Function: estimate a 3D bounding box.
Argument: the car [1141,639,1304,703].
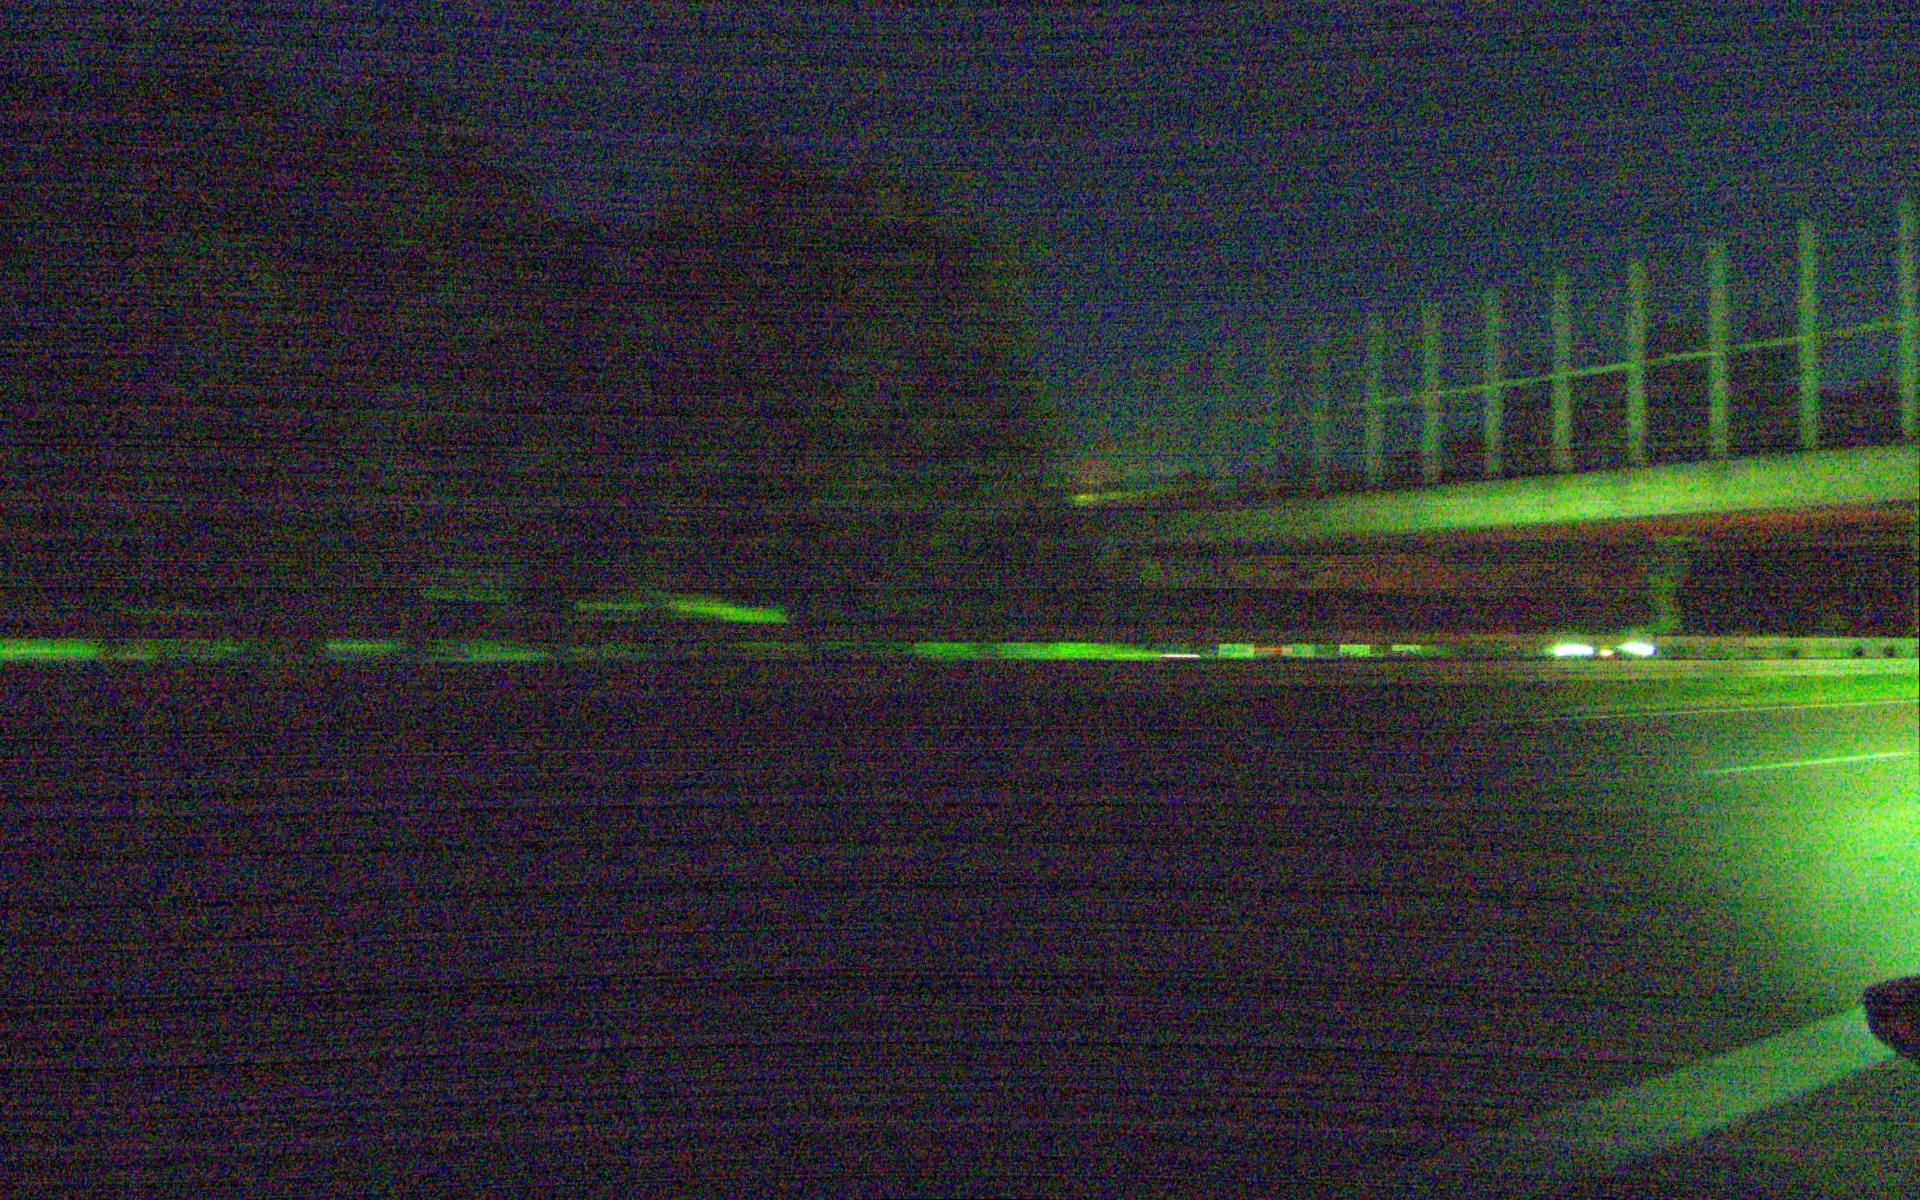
[{"bbox_3d":[7.101,1.921,27.159,3.950,1.539,1.986,3,-1,-28],"label":"car"}]

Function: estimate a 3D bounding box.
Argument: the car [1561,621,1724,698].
[{"bbox_3d":[19.890,1.709,29.246,4.550,2.040,1.986,2,-1,-28],"label":"car"}]
